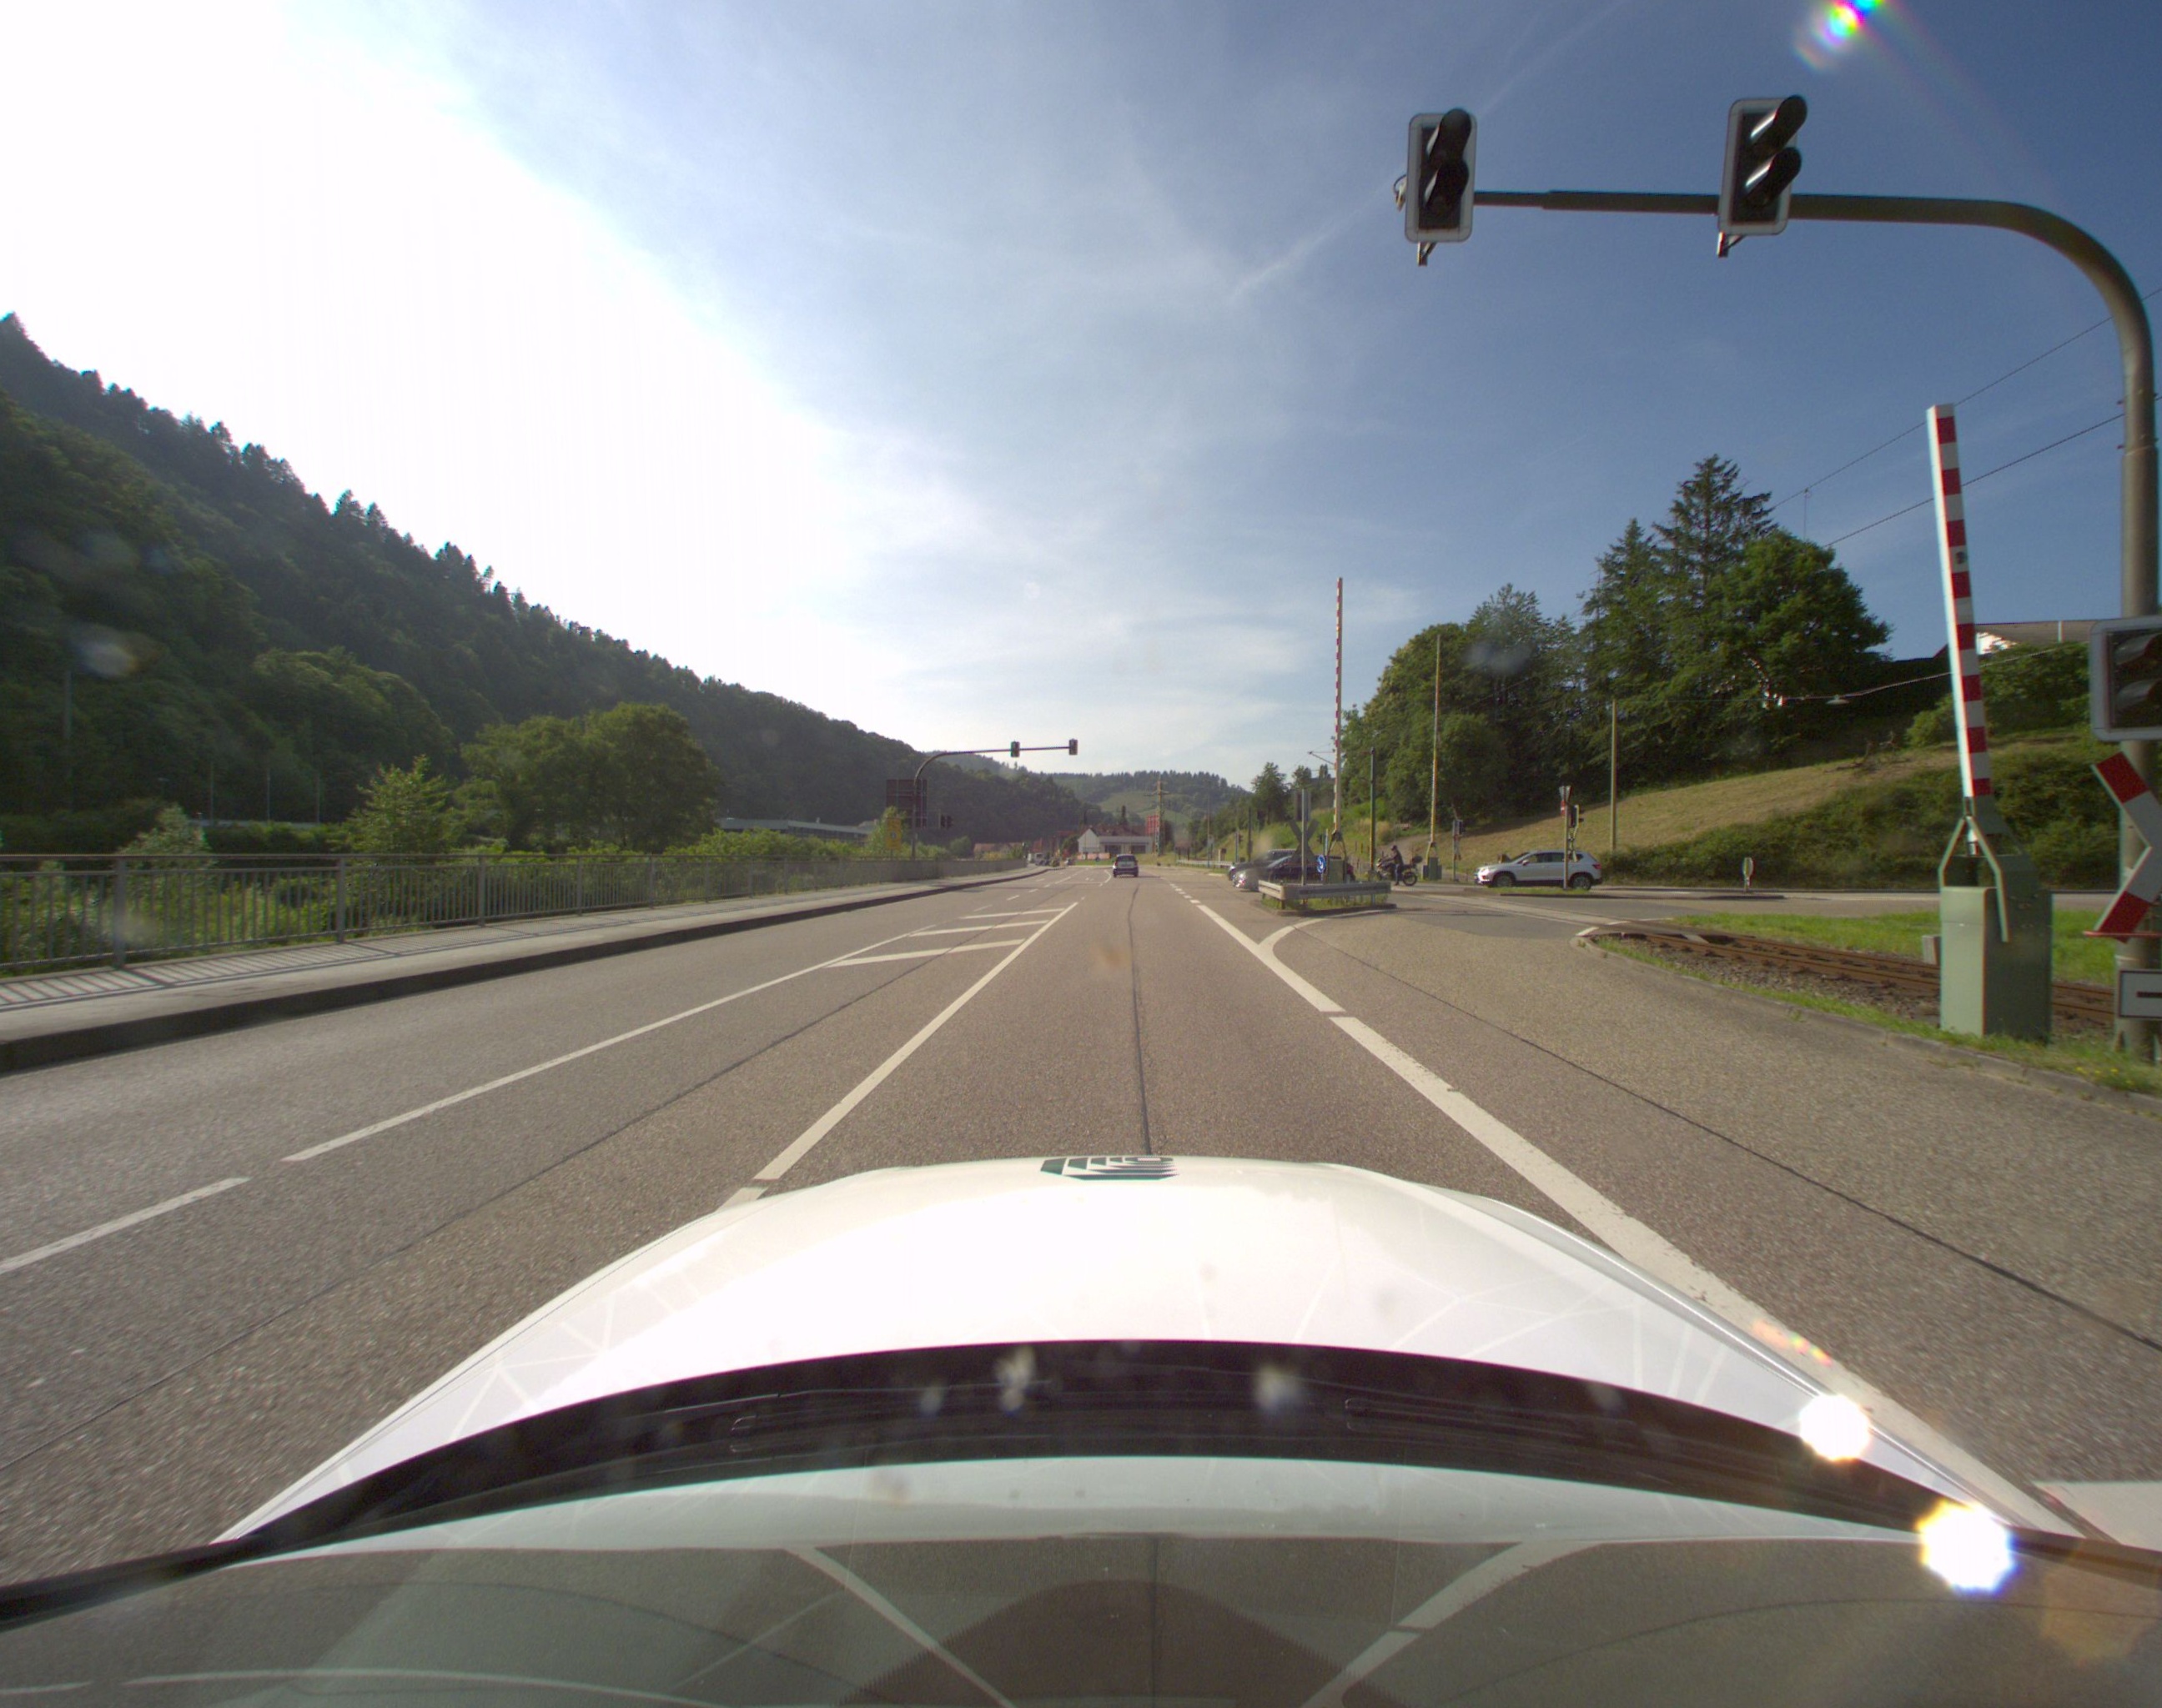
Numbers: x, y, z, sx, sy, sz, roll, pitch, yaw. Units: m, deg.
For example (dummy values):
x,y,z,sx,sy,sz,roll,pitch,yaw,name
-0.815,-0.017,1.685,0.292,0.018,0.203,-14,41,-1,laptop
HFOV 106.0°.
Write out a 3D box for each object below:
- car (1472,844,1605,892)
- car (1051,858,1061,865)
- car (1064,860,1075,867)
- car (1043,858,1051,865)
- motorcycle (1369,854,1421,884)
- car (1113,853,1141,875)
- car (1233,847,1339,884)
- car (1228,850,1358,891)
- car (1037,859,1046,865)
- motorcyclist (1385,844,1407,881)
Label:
x,y,z,sx,sy,sz,roll,pitch,yaw,name
17.266,0.487,30.947,4.082,1.686,1.842,1,0,16,car
-5.375,1.580,175.002,1.456,1.435,2.920,1,0,-16,car
-2.276,1.849,158.867,1.456,1.435,2.921,1,0,-15,car
-7.953,1.760,188.491,1.235,1.435,2.626,-2,0,-16,car
13.816,0.652,35.858,2.075,1.254,0.803,1,0,21,motorcycle
3.375,0.739,59.164,1.852,1.544,4.379,1,-1,5,car
9.655,0.528,38.282,4.689,1.660,1.939,-1,0,17,car
8.251,0.638,31.997,4.703,1.470,1.844,-1,0,5,car
-9.972,1.930,204.960,1.456,1.435,2.920,1,0,-16,car
13.858,0.361,35.853,0.899,1.597,0.769,1,0,20,motorcyclist
